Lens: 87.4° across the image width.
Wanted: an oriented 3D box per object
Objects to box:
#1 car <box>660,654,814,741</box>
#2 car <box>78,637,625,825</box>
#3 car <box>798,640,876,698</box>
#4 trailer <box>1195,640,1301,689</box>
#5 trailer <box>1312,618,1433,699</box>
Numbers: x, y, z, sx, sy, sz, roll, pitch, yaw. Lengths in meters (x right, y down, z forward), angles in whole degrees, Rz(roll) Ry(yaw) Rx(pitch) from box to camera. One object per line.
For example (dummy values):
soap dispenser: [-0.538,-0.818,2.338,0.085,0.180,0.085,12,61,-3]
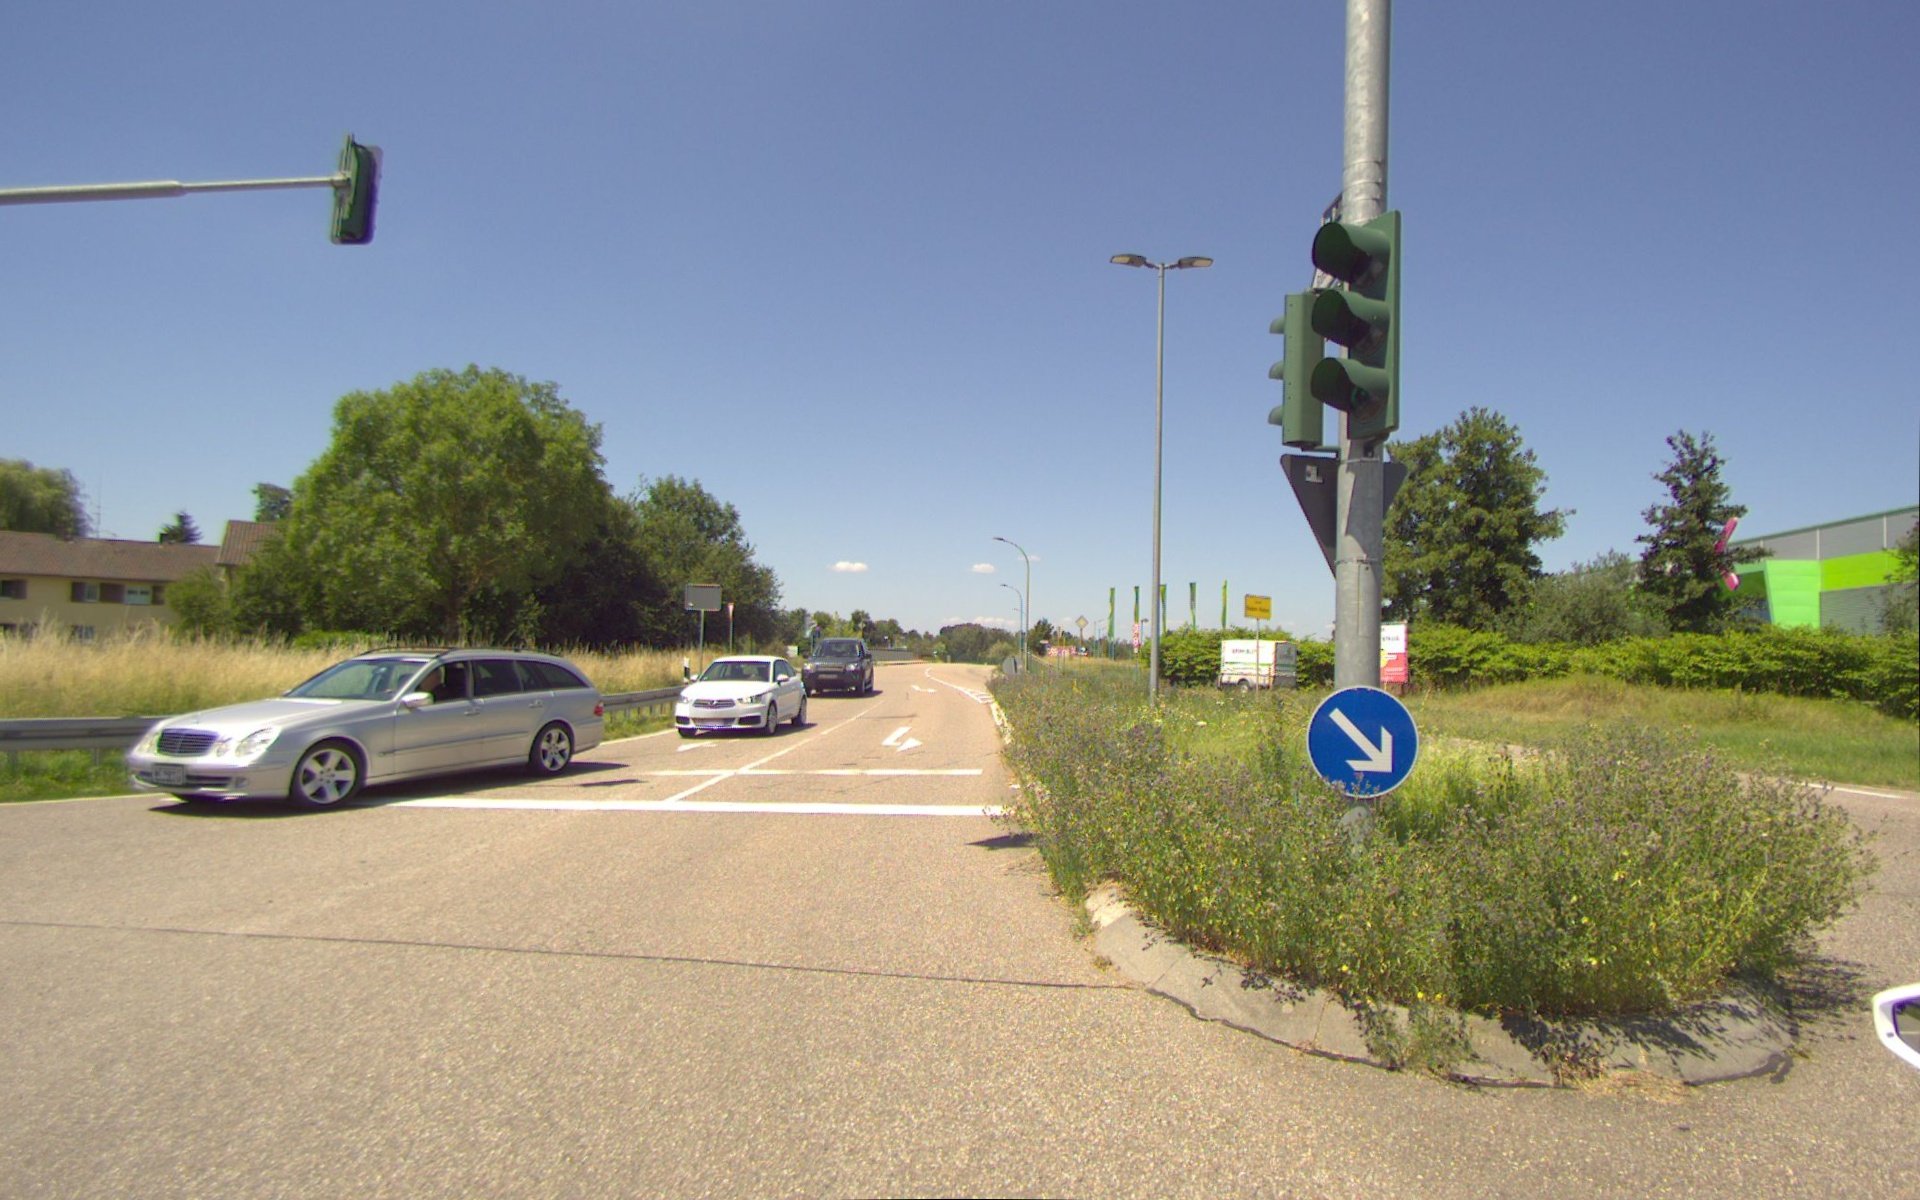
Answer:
car: [-4.050,1.750,18.914,1.735,1.417,3.966,0,-3,4]
car: [-5.963,1.192,10.786,1.840,1.476,4.972,1,-3,18]
car: [-3.745,2.089,31.145,1.736,1.645,4.236,0,-3,2]
trailer: [11.244,2.500,39.412,1.809,1.814,3.722,3,-3,-35]
trailer: [15.049,2.094,36.758,1.809,2.800,3.720,3,-3,-36]
